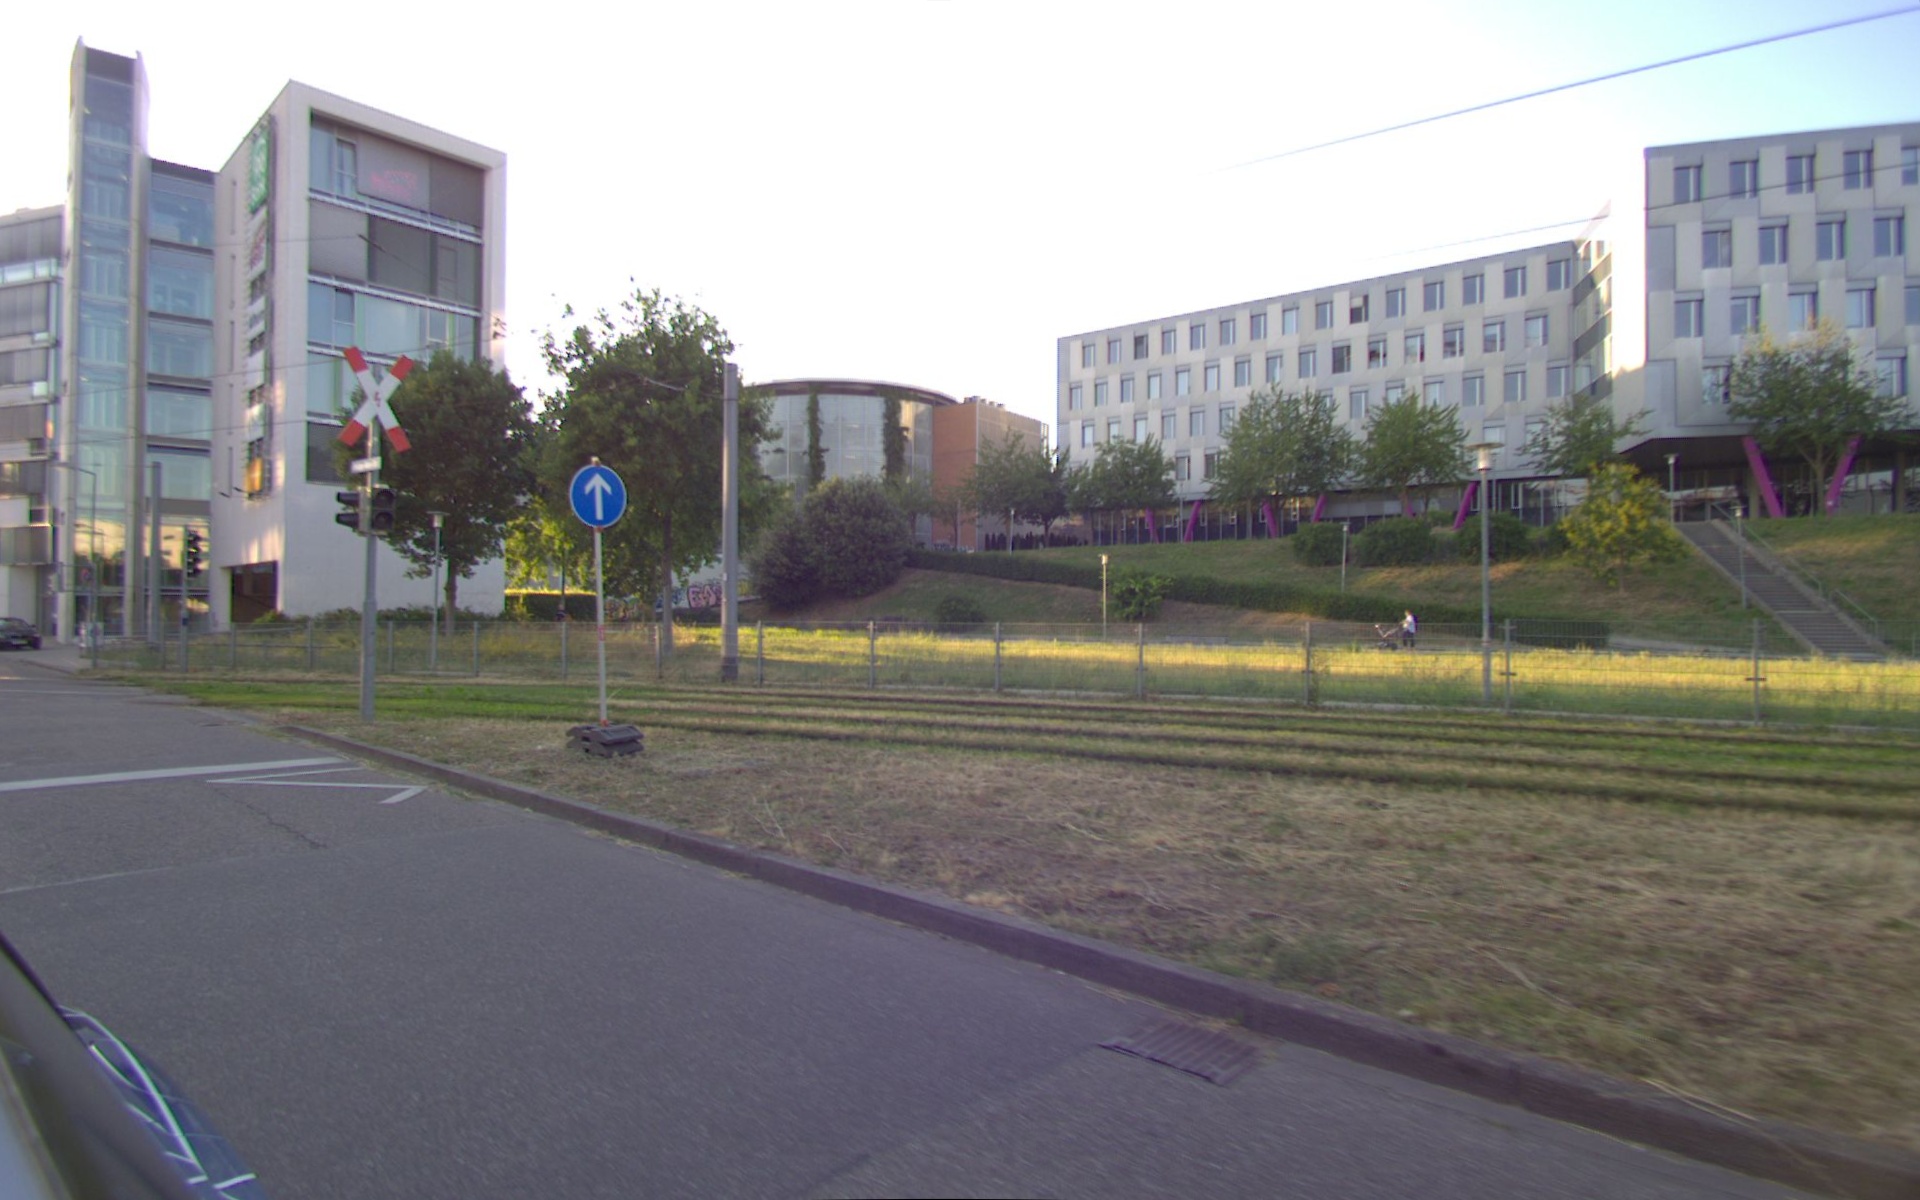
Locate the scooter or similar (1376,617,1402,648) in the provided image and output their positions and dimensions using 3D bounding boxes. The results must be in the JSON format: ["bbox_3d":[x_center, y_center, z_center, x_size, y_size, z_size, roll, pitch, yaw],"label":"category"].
[{"bbox_3d":[17.654,1.326,41.649,0.790,1.253,0.610,-1,0,41],"label":"scooter or similar"}]

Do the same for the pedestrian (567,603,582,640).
[{"bbox_3d":[-19.554,1.104,51.350,0.480,1.850,0.434,-1,0,22],"label":"pedestrian"}]

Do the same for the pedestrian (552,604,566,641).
[{"bbox_3d":[-20.169,1.125,50.926,0.480,1.850,0.446,-1,0,22],"label":"pedestrian"}]

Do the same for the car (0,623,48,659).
[{"bbox_3d":[-41.481,1.750,43.904,4.216,1.453,1.838,-1,1,34],"label":"car"}]

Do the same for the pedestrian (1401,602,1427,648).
[{"bbox_3d":[18.457,1.016,41.106,0.790,1.850,0.610,-1,0,41],"label":"pedestrian"}]
